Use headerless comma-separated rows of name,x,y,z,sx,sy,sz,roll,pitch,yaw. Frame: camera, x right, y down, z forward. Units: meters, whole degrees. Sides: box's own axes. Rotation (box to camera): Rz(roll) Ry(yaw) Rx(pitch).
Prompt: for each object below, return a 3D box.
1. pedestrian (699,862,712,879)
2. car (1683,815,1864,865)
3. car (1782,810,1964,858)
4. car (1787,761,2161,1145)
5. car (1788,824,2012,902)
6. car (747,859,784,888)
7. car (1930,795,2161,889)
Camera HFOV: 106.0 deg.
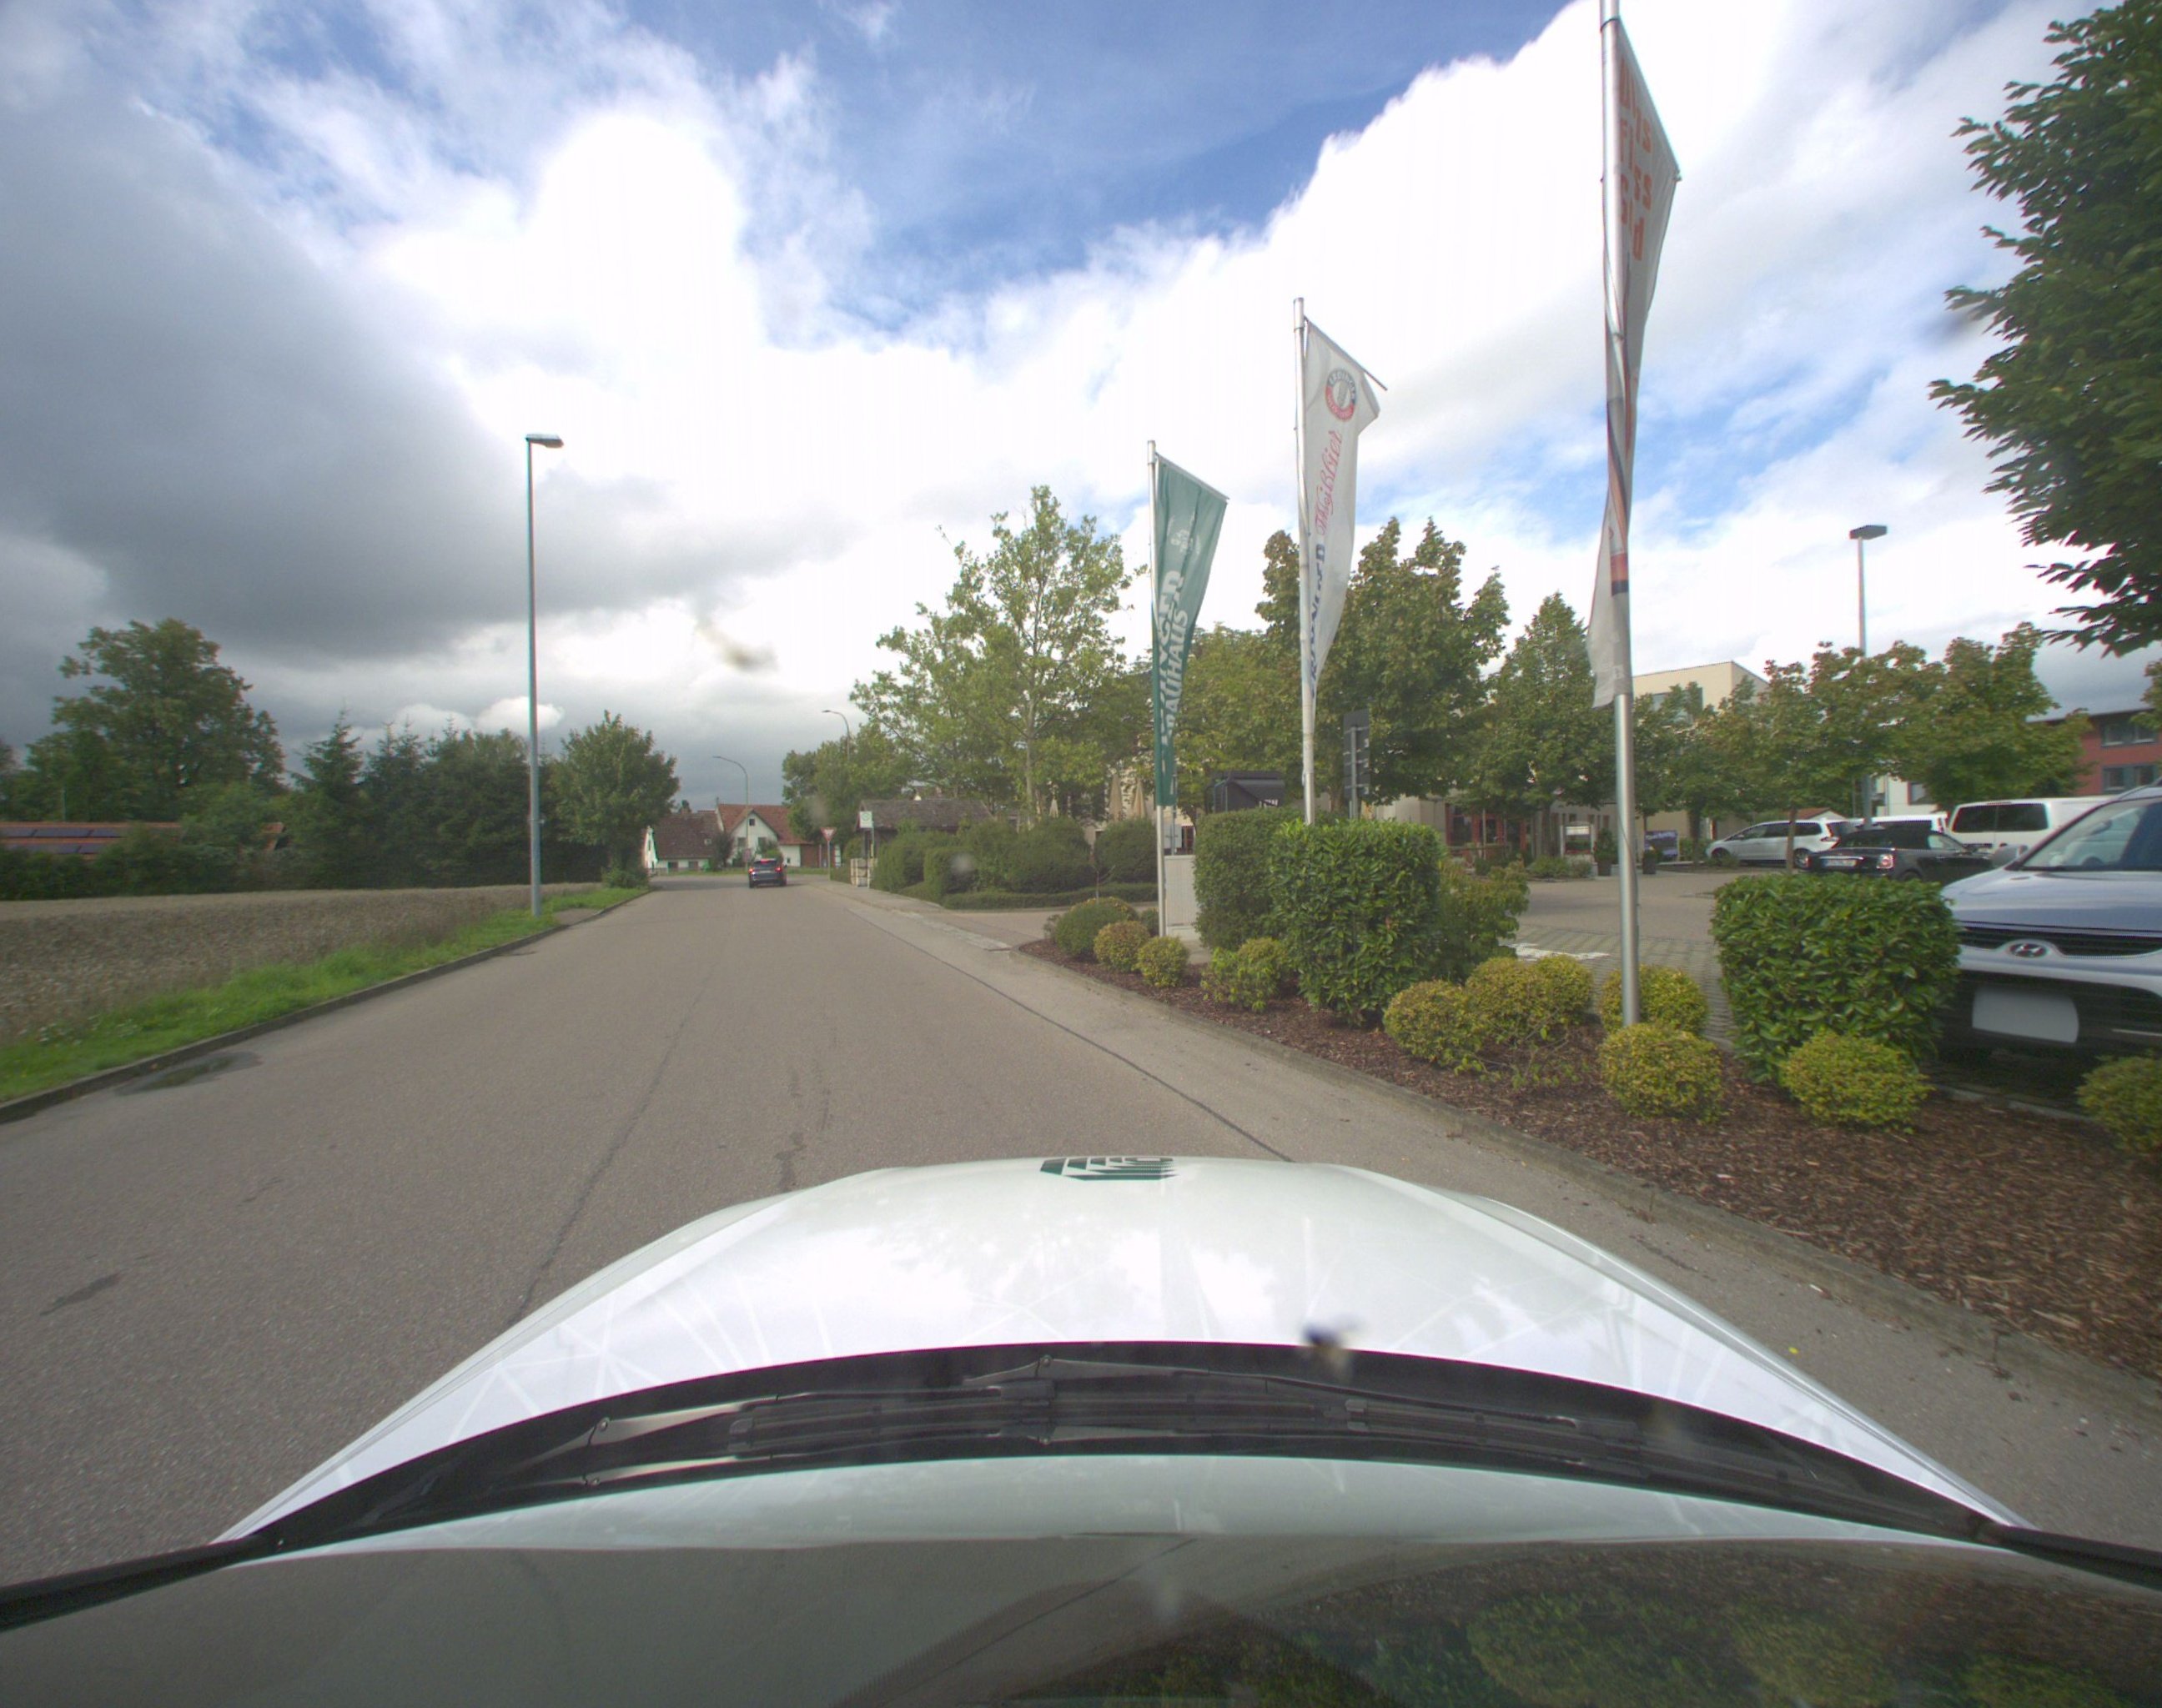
pedestrian,-35.751,1.582,77.560,0.703,1.665,0.796,-1,-4,34
car,25.763,-0.480,30.584,1.748,1.711,5.052,-1,0,-15
car,31.030,-0.731,32.160,1.595,1.711,5.052,-1,0,-15
car,6.929,0.346,4.643,4.667,1.696,1.911,-3,0,-12
car,15.874,0.143,15.827,3.367,1.351,1.621,-1,0,-15
car,-17.443,1.053,45.024,1.806,1.462,3.635,-2,0,-22
car,20.714,-0.280,17.354,4.360,1.822,1.758,-1,0,-15
